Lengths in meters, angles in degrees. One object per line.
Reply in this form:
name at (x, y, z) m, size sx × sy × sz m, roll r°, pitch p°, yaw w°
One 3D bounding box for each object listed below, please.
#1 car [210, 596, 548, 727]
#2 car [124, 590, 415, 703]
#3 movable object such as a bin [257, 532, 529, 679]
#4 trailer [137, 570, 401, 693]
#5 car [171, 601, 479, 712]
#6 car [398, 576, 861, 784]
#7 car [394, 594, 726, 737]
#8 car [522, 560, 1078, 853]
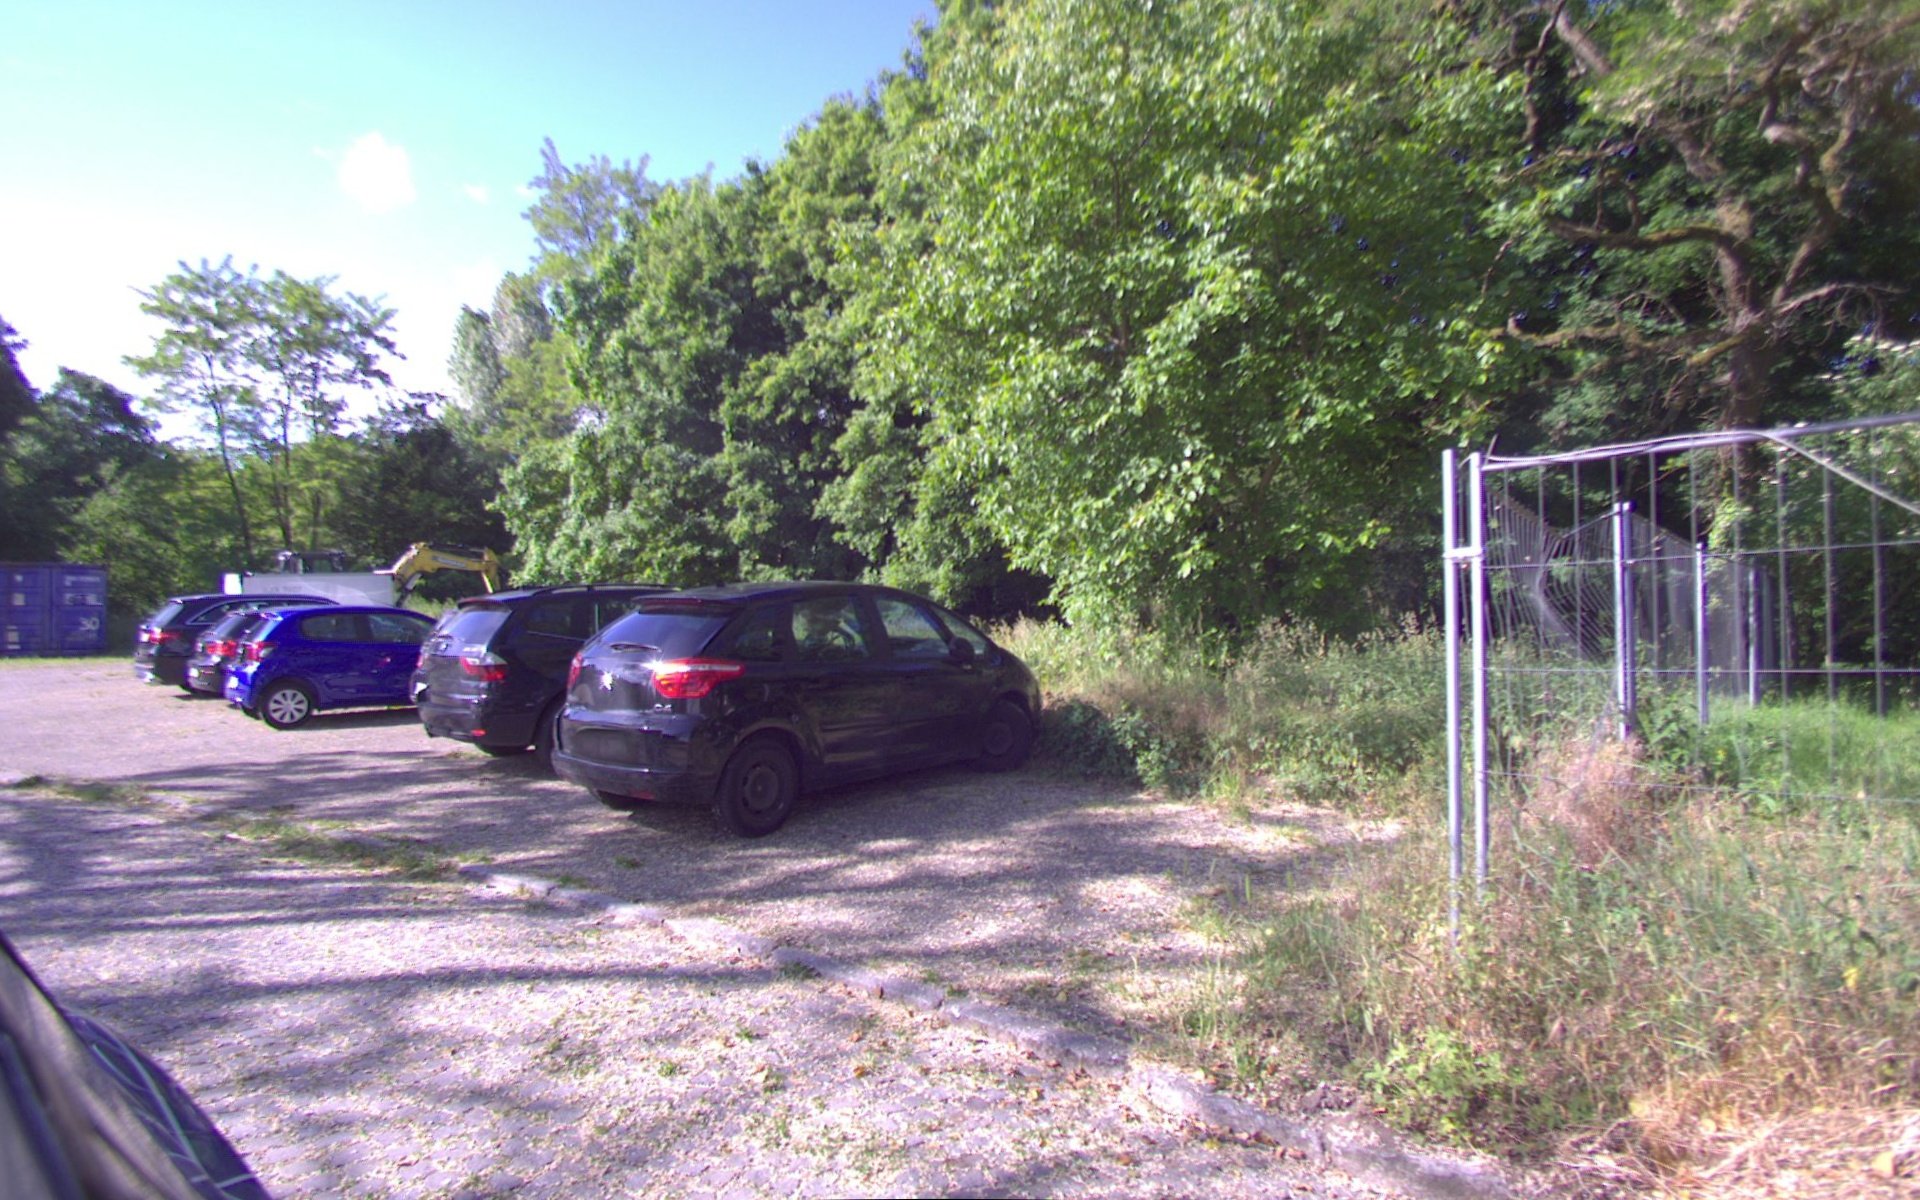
car at (-7.628, 0.733, 13.469) m, size 3.608 × 1.504 × 1.716 m, roll 1°, pitch -1°, yaw -44°
car at (-11.400, 0.695, 16.837) m, size 3.763 × 1.653 × 1.869 m, roll 0°, pitch -1°, yaw -44°
movable object such as a bin at (-12.728, 0.142, 22.952) m, size 5.084 × 2.988 × 2.003 m, roll 1°, pitch -1°, yaw -42°
trailer at (-13.086, 0.524, 19.328) m, size 1.640 × 2.109 × 3.915 m, roll -1°, pitch 0°, yaw 45°
car at (-9.496, 0.777, 15.292) m, size 1.835 × 1.462 × 3.610 m, roll -1°, pitch -1°, yaw 44°
car at (-3.150, 0.675, 10.278) m, size 1.818 × 1.669 × 4.131 m, roll -1°, pitch -1°, yaw 43°
car at (-4.890, 0.727, 12.601) m, size 3.496 × 1.527 × 1.681 m, roll 1°, pitch -1°, yaw -41°
car at (-0.970, 0.638, 7.993) m, size 1.791 × 1.664 × 4.243 m, roll -1°, pitch -1°, yaw 39°
